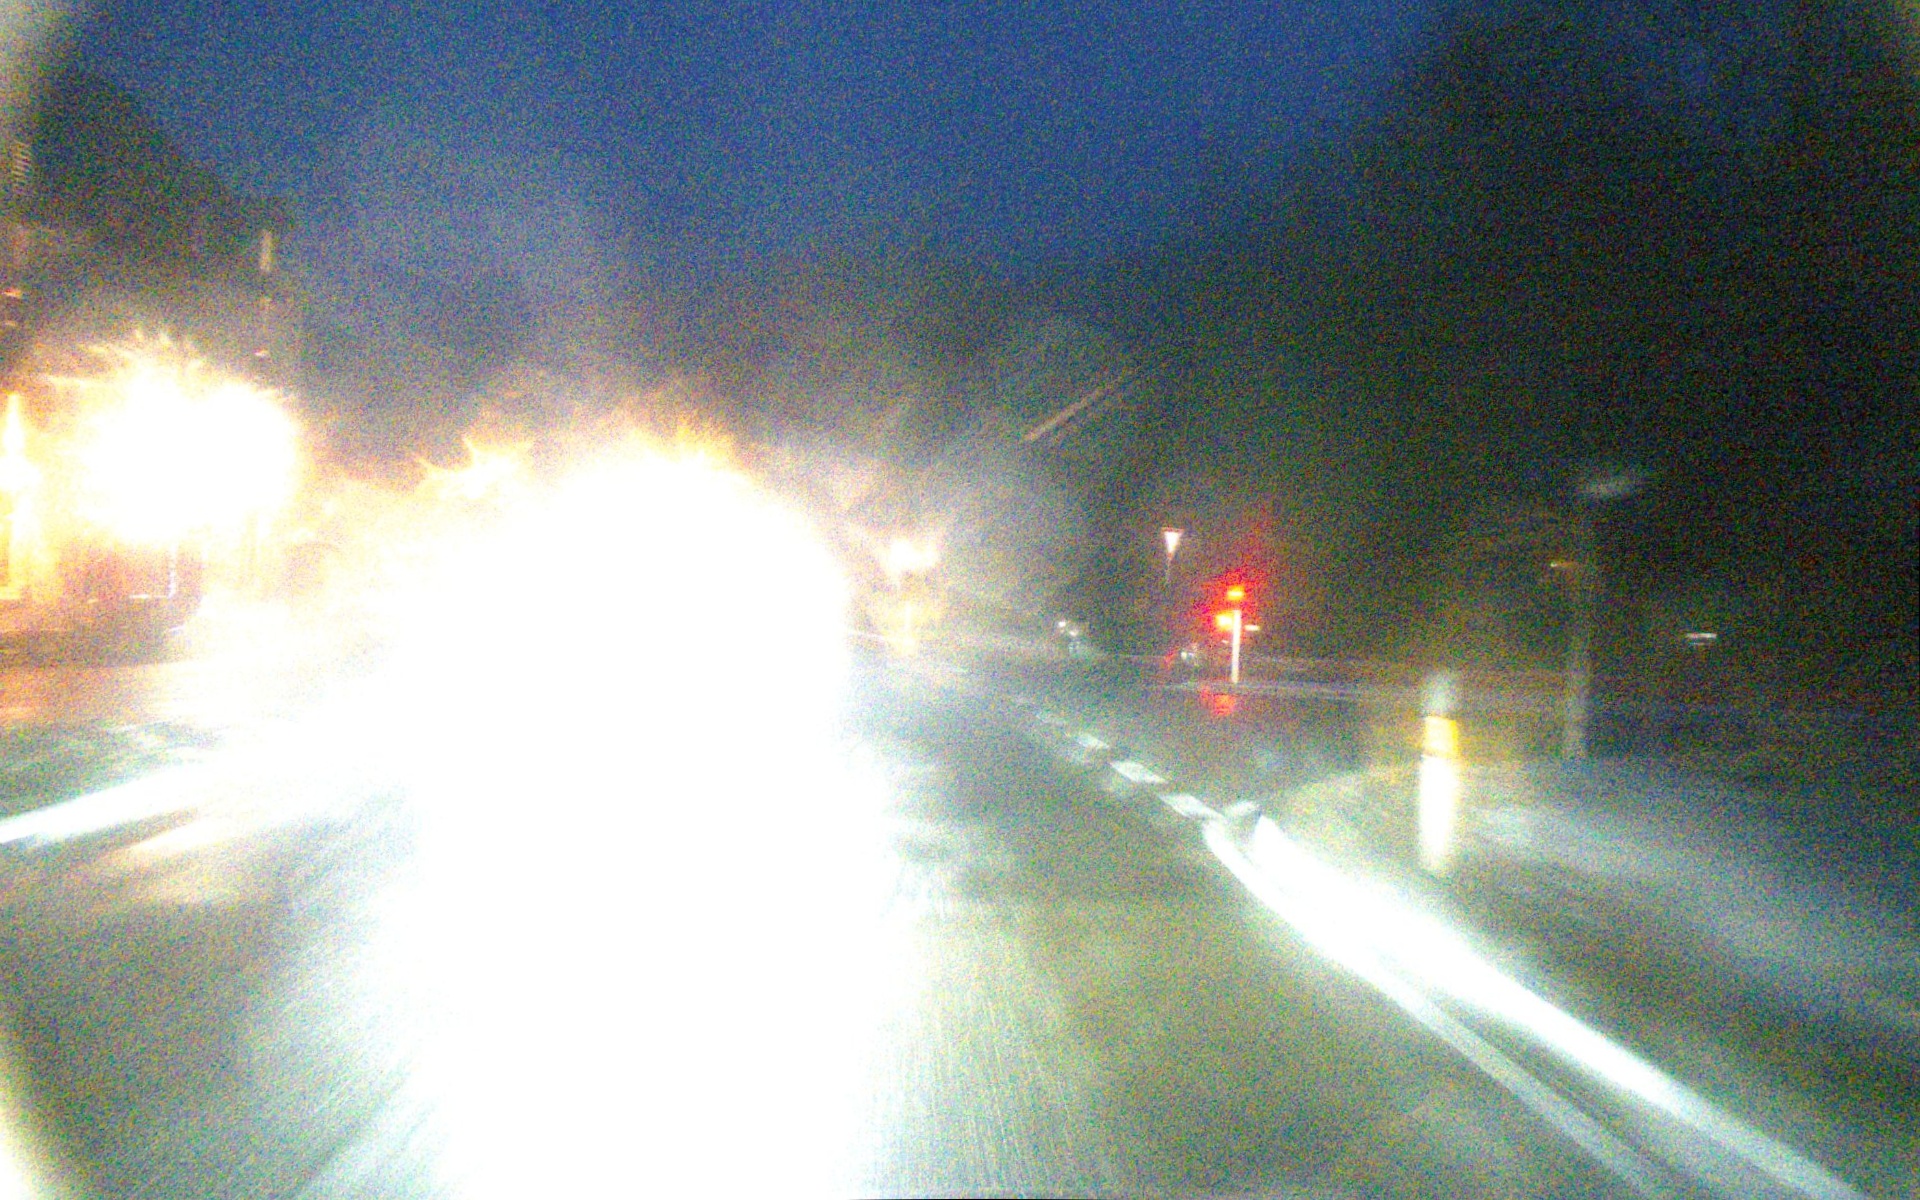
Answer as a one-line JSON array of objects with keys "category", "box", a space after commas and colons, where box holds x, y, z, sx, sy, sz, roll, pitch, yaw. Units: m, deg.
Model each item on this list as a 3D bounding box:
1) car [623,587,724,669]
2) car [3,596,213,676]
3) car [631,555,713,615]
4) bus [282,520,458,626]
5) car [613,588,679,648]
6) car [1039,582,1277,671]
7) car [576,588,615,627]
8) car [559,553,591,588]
[{"category": "car", "box": [-5.929, 0.563, 34.611, 1.919, 1.549, 4.390, 2, -1, -8]}, {"category": "car", "box": [-17.223, 0.686, 33.671, 1.652, 1.422, 4.154, -2, 1, 8]}, {"category": "car", "box": [-13.698, -0.764, 78.374, 2.506, 2.540, 5.673, 0, 3, -24]}, {"category": "bus", "box": [-24.287, -1.145, 67.443, 2.873, 3.936, 12.882, 1, 1, -38]}, {"category": "car", "box": [-8.724, 0.469, 45.943, 1.681, 1.502, 3.859, 2, 0, -11]}, {"category": "car", "box": [4.190, 0.540, 35.279, 4.680, 1.721, 1.953, 1, -1, 37]}, {"category": "car", "box": [-16.201, 0.292, 73.544, 1.666, 1.627, 3.789, 1, 1, -12]}, {"category": "car", "box": [-24.859, -1.886, 106.808, 1.959, 2.049, 3.986, 2, -1, -13]}]
